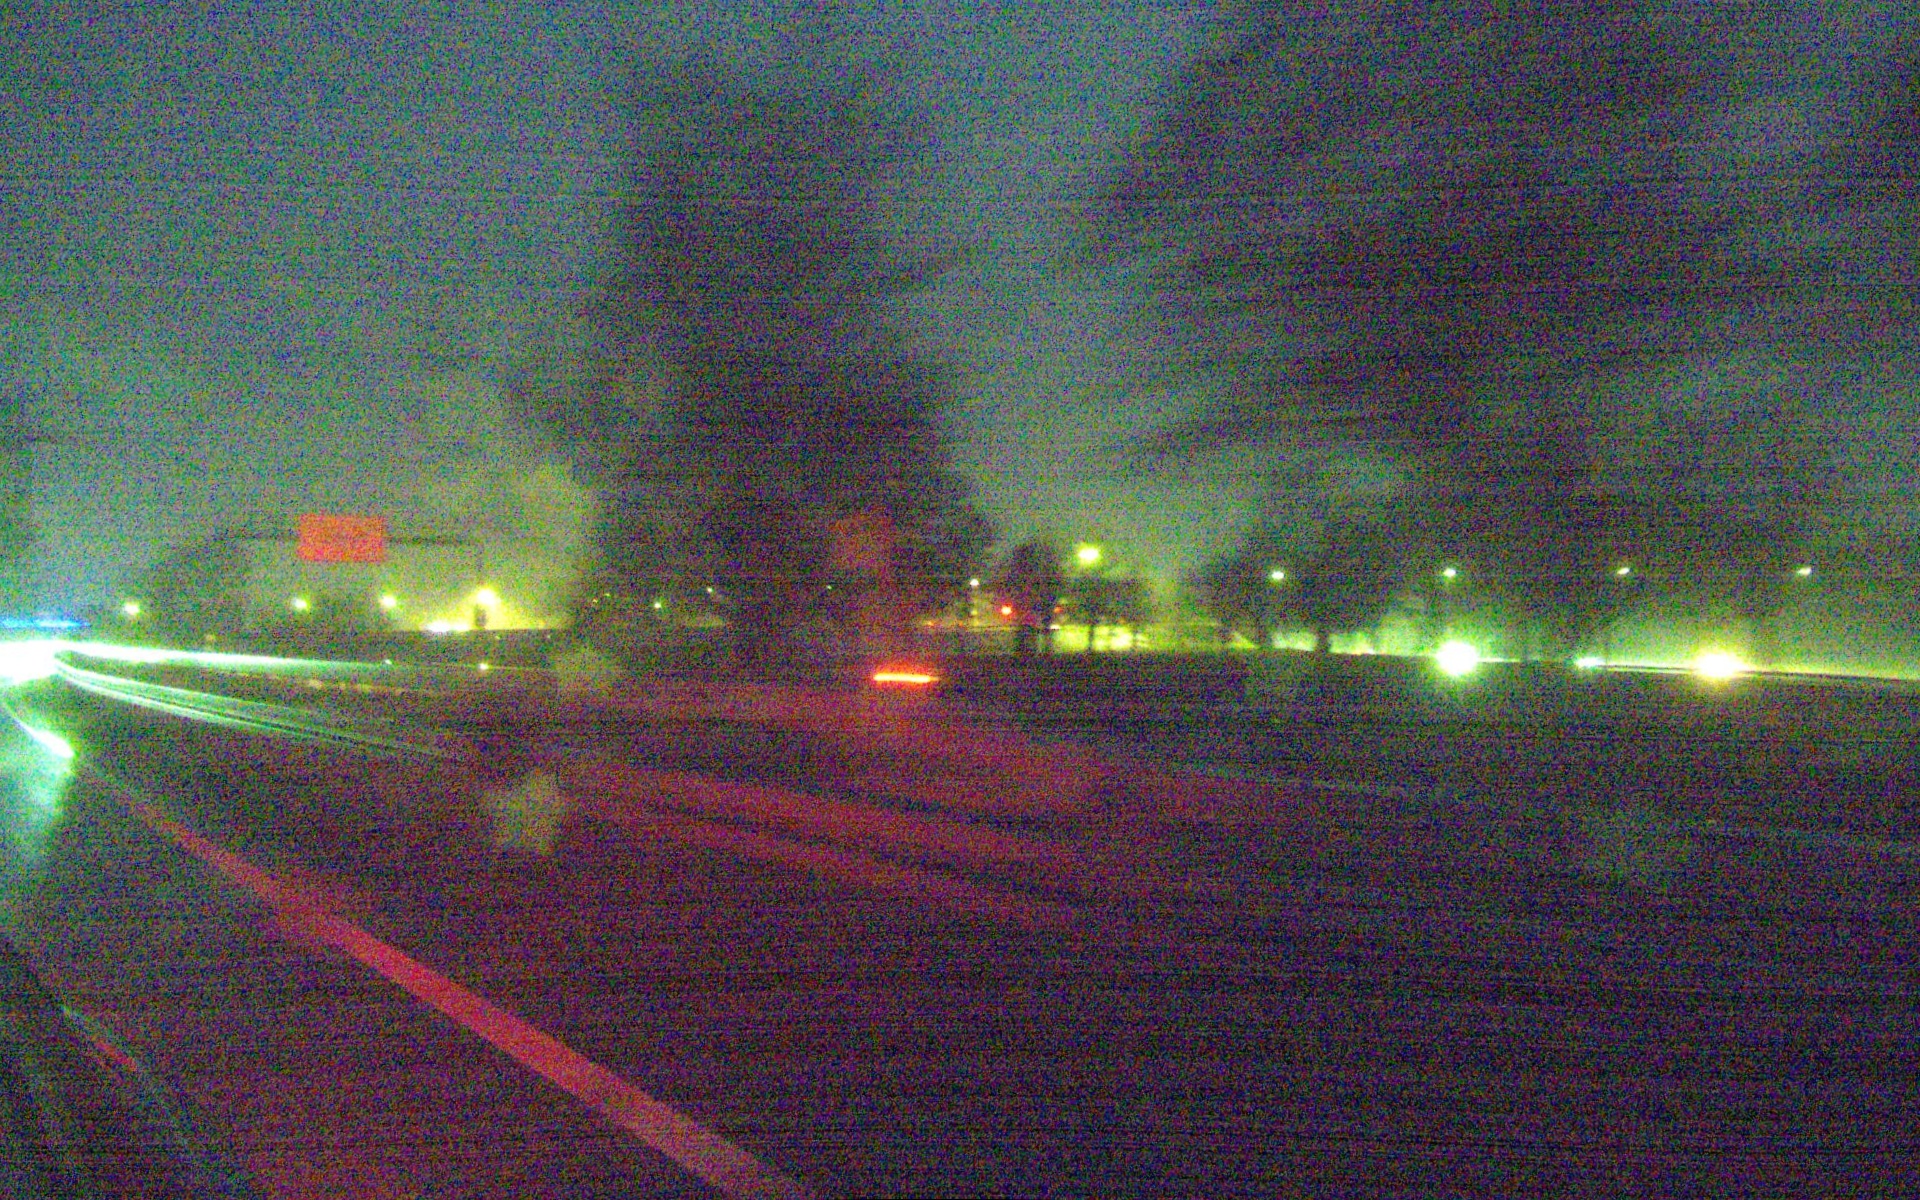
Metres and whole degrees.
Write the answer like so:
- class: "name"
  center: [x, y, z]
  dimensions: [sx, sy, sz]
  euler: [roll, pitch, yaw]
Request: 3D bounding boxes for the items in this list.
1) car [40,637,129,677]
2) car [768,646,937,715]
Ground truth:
- class: "car"
  center: [-40.983, 2.652, 47.495]
  dimensions: [1.965, 1.761, 4.113]
  euler: [0, -2, -23]
- class: "car"
  center: [-2.733, 2.045, 26.013]
  dimensions: [3.965, 1.652, 1.750]
  euler: [-2, -2, 17]
